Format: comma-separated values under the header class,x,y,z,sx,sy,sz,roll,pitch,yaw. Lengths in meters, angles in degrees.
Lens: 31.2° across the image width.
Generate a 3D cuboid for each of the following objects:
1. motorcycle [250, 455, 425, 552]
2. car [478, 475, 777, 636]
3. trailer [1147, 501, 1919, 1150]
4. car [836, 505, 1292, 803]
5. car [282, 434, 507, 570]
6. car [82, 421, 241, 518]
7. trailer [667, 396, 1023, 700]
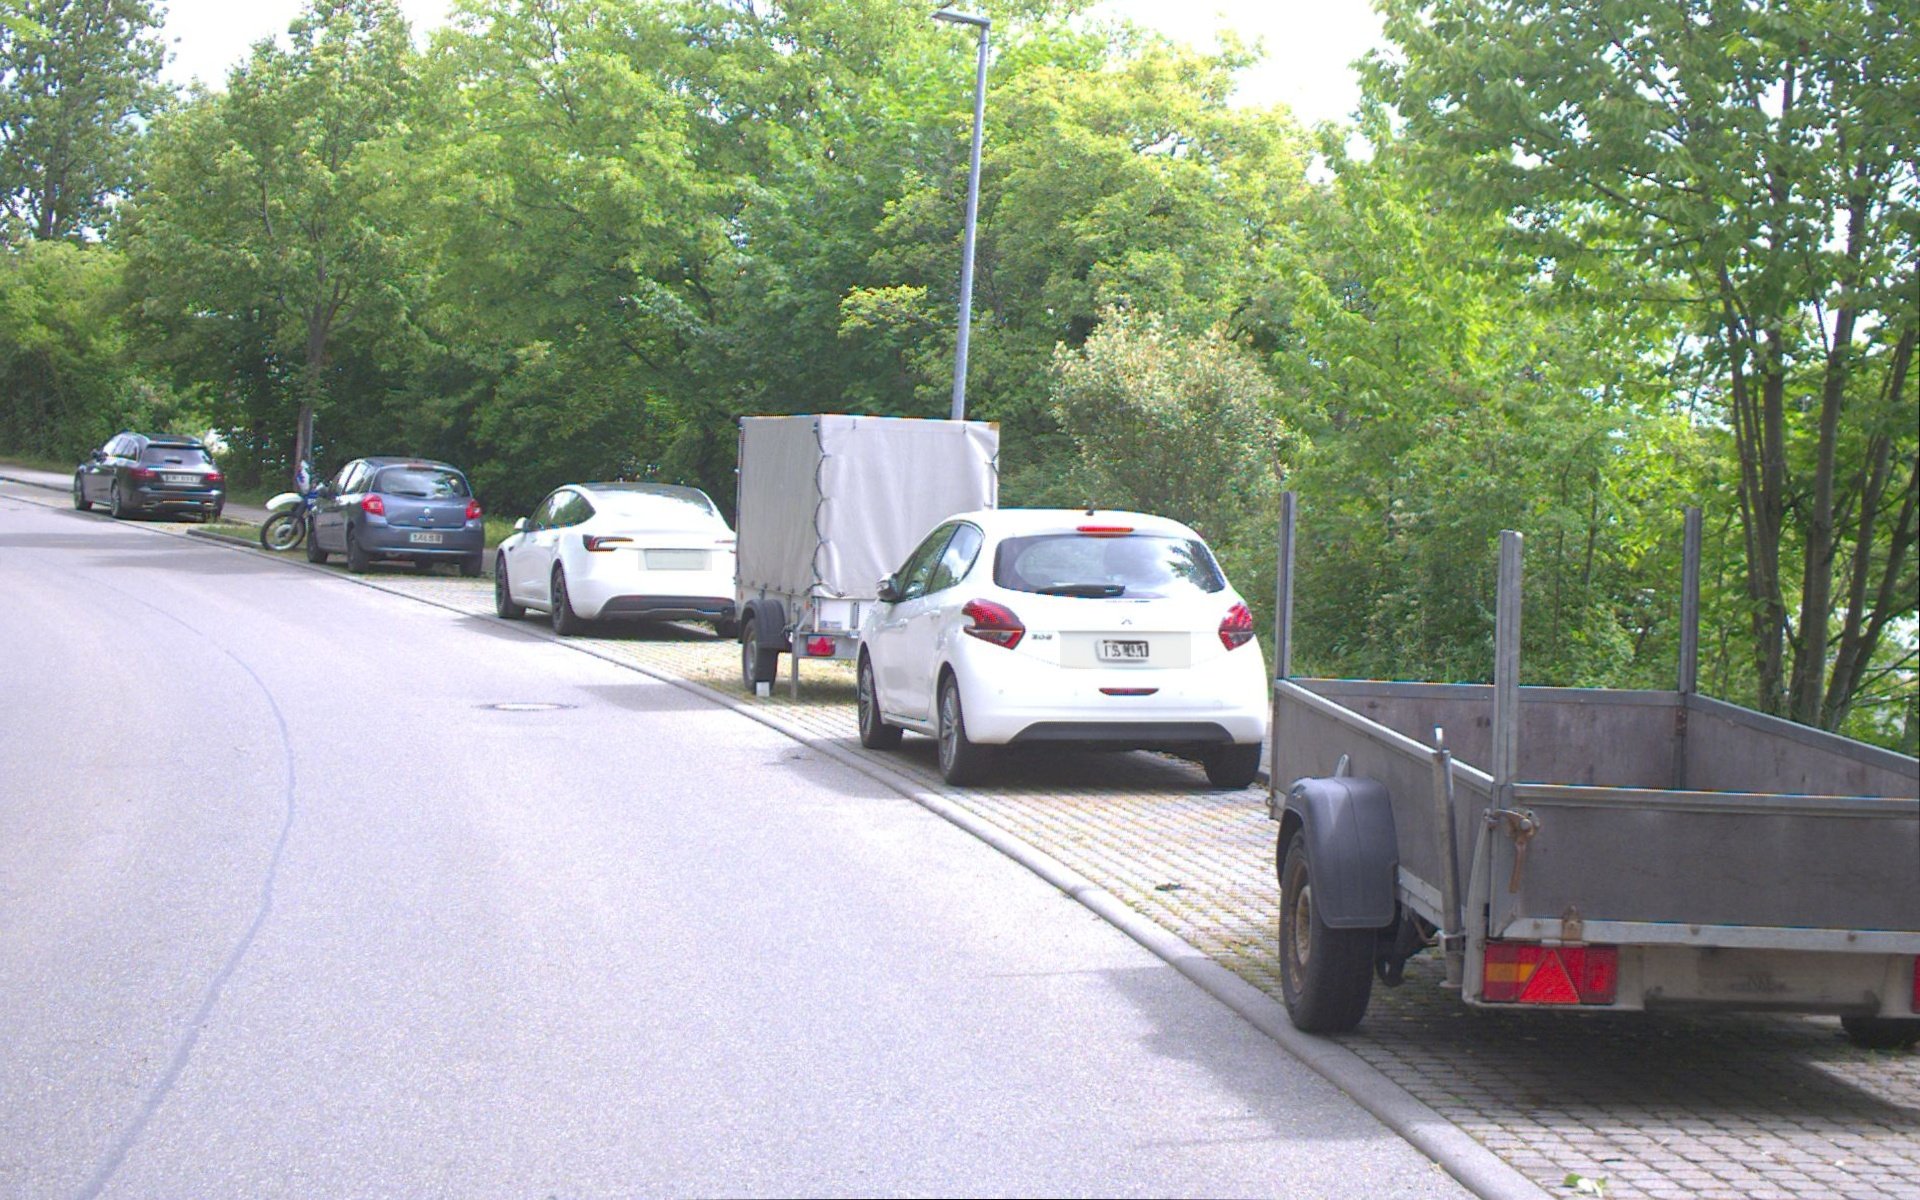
class,x,y,z,sx,sy,sz,roll,pitch,yaw
motorcycle,-8.789,-1.378,48.570,2.169,1.261,1.069,2,4,16
car,-3.353,-0.480,33.881,1.885,1.371,4.353,2,2,-20
trailer,1.779,0.511,10.443,1.784,1.520,4.001,2,2,-6
car,0.472,0.230,19.612,1.768,1.406,4.002,1,3,-10
car,-7.500,-1.332,45.287,1.886,1.681,4.353,-1,3,-24
car,-13.828,-2.275,59.380,1.841,1.511,4.001,1,3,-25
trailer,-0.961,-0.434,25.974,1.739,2.104,4.002,1,2,-16
